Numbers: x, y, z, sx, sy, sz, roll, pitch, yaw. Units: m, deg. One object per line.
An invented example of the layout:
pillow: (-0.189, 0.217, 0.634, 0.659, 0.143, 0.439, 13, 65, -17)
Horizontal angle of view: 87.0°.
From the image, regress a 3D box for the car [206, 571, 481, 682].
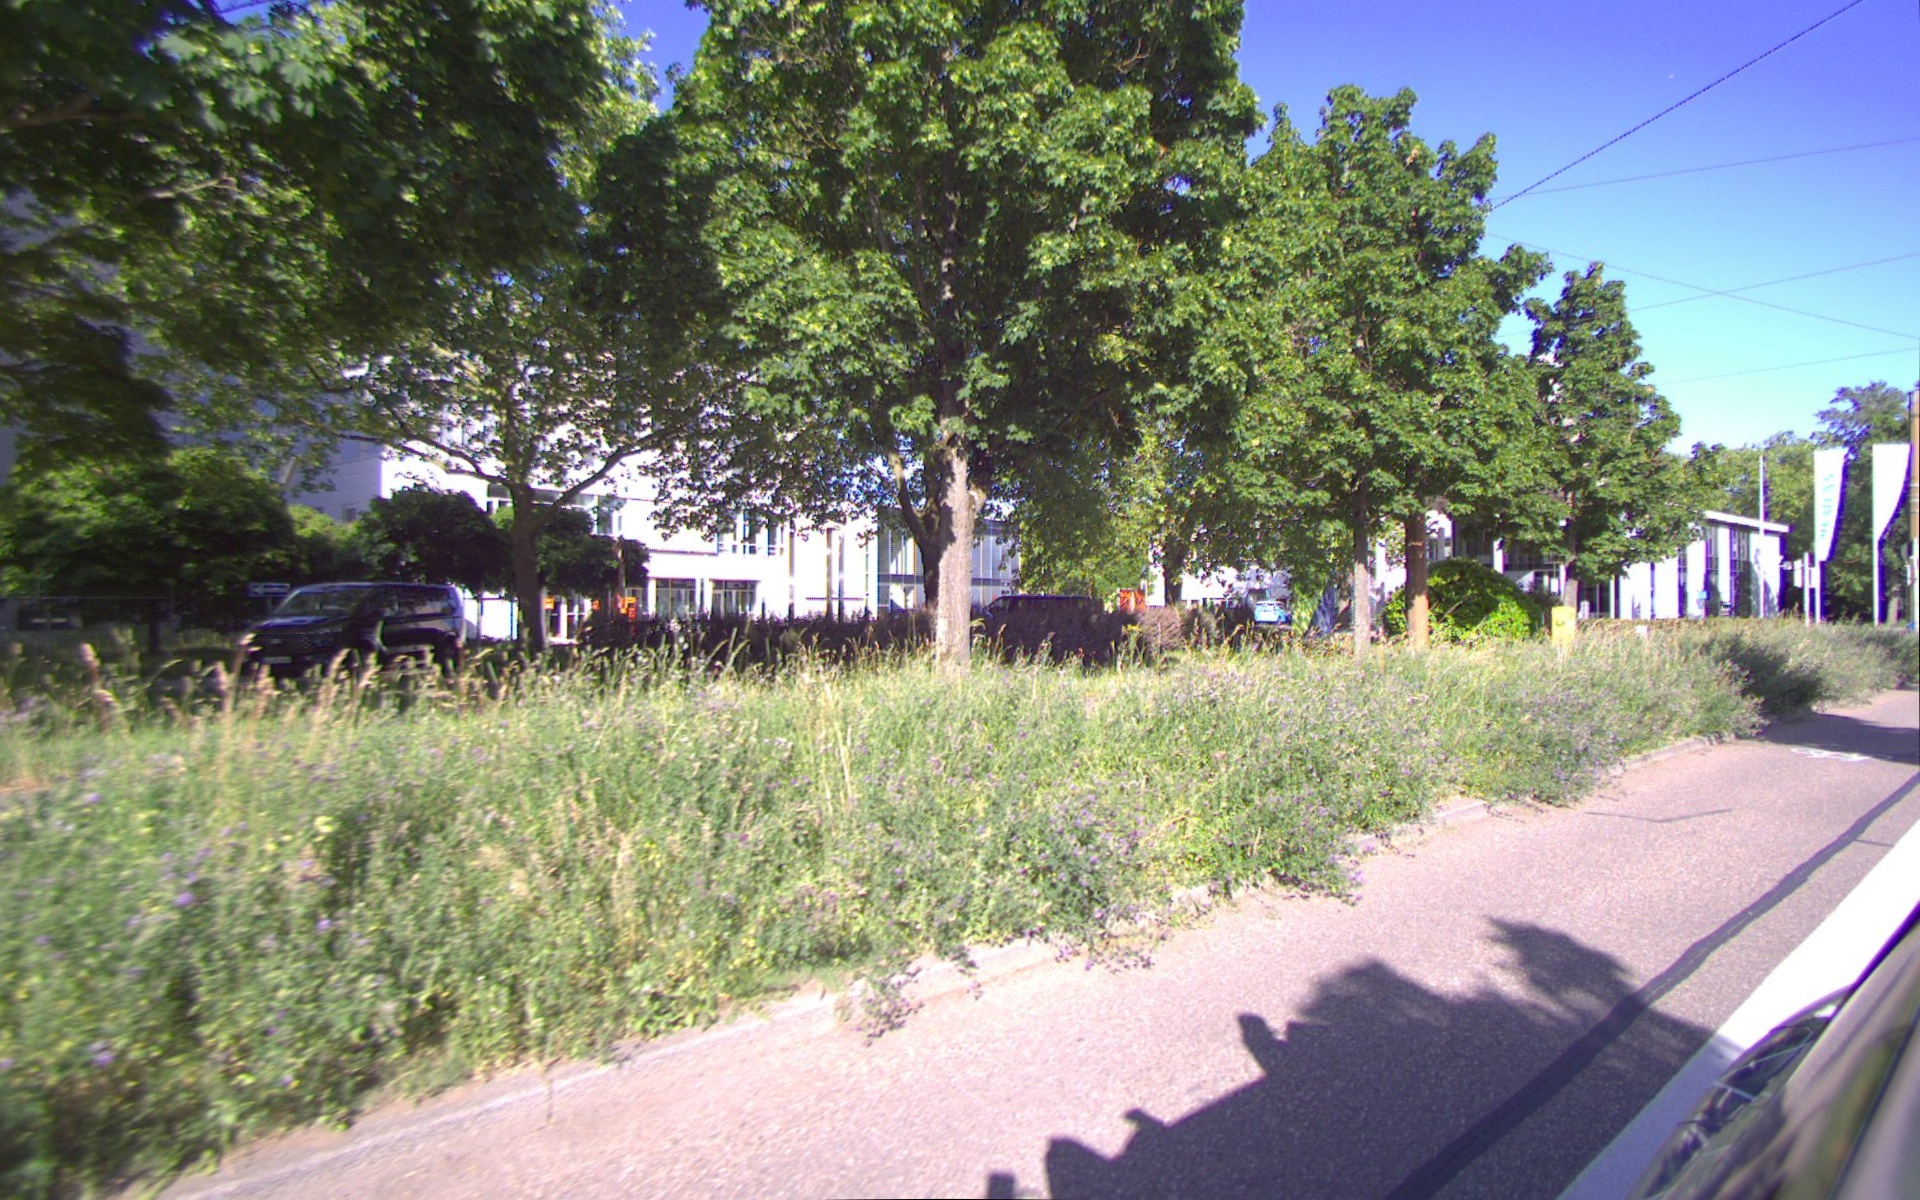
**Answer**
car: (-11.839, 0.462, 19.991, 2.042, 1.900, 5.180, 0, 0, 4)
